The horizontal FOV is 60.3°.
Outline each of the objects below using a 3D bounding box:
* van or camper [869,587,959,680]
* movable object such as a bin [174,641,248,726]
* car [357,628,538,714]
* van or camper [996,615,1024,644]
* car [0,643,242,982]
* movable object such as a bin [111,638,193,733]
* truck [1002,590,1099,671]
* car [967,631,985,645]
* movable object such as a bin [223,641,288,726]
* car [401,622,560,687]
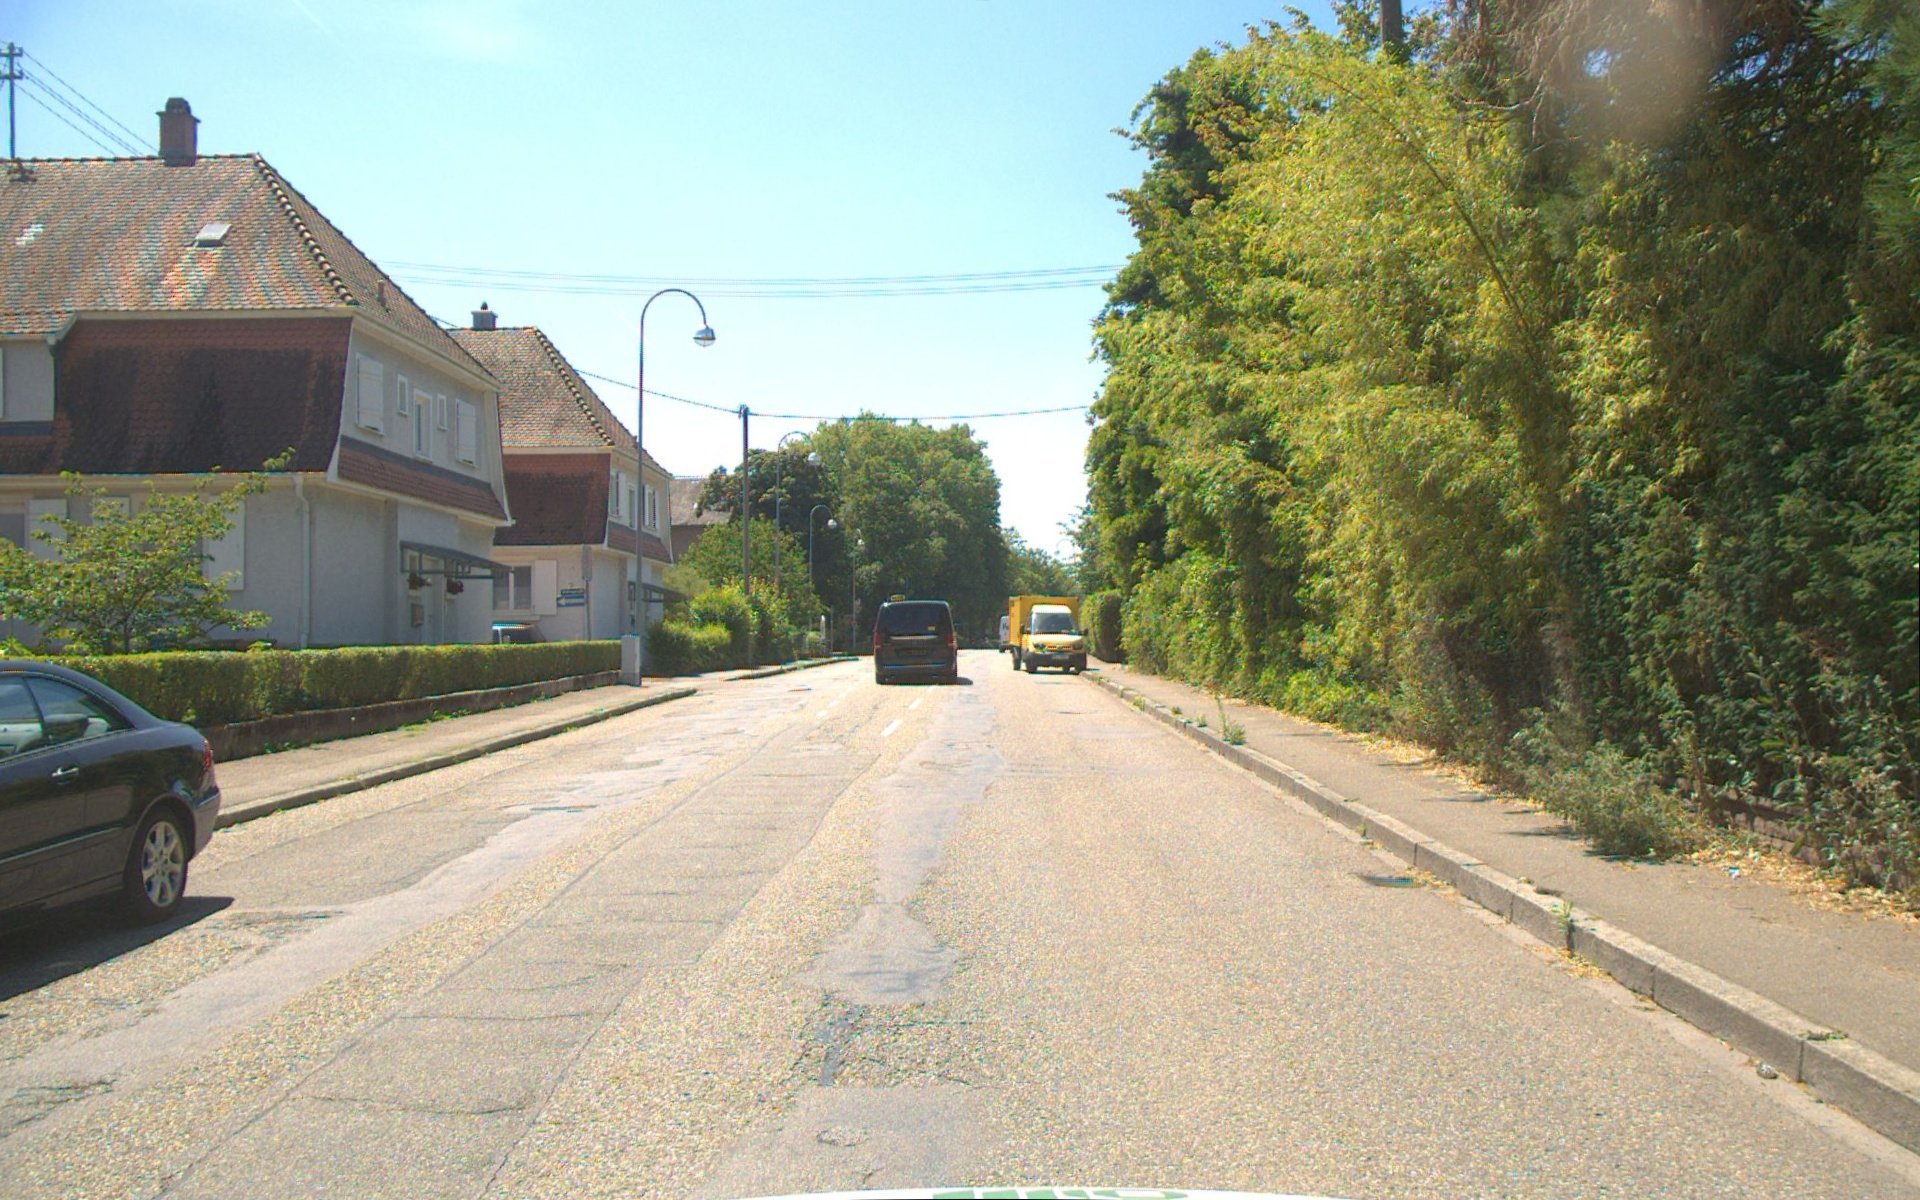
[{"bbox_3d":[-1.013,0.780,38.972,1.863,2.049,5.270,0,-1,1],"label":"van or camper"},{"bbox_3d":[-12.259,1.361,27.089,0.802,1.345,0.919,-1,-1,-2],"label":"movable object such as a bin"},{"bbox_3d":[-12.464,1.705,40.377,3.788,1.938,1.880,-1,-1,0],"label":"car"},{"bbox_3d":[3.623,2.131,119.724,1.952,2.049,4.000,-1,-1,1],"label":"van or camper"},{"bbox_3d":[-4.952,0.968,7.219,1.632,1.410,4.380,-2,-1,1],"label":"car"},{"bbox_3d":[-13.148,1.373,26.945,0.860,1.499,1.008,-1,-1,-2],"label":"movable object such as a bin"},{"bbox_3d":[2.678,0.931,50.356,2.309,2.298,6.088,-1,-1,-3],"label":"truck"},{"bbox_3d":[1.772,4.105,179.252,1.515,1.474,3.008,-1,-1,9],"label":"car"},{"bbox_3d":[-11.494,1.347,26.997,0.675,1.345,0.919,-1,-1,-2],"label":"movable object such as a bin"},{"bbox_3d":[-13.210,1.490,45.730,3.788,1.670,1.880,-1,-1,0],"label":"car"}]
